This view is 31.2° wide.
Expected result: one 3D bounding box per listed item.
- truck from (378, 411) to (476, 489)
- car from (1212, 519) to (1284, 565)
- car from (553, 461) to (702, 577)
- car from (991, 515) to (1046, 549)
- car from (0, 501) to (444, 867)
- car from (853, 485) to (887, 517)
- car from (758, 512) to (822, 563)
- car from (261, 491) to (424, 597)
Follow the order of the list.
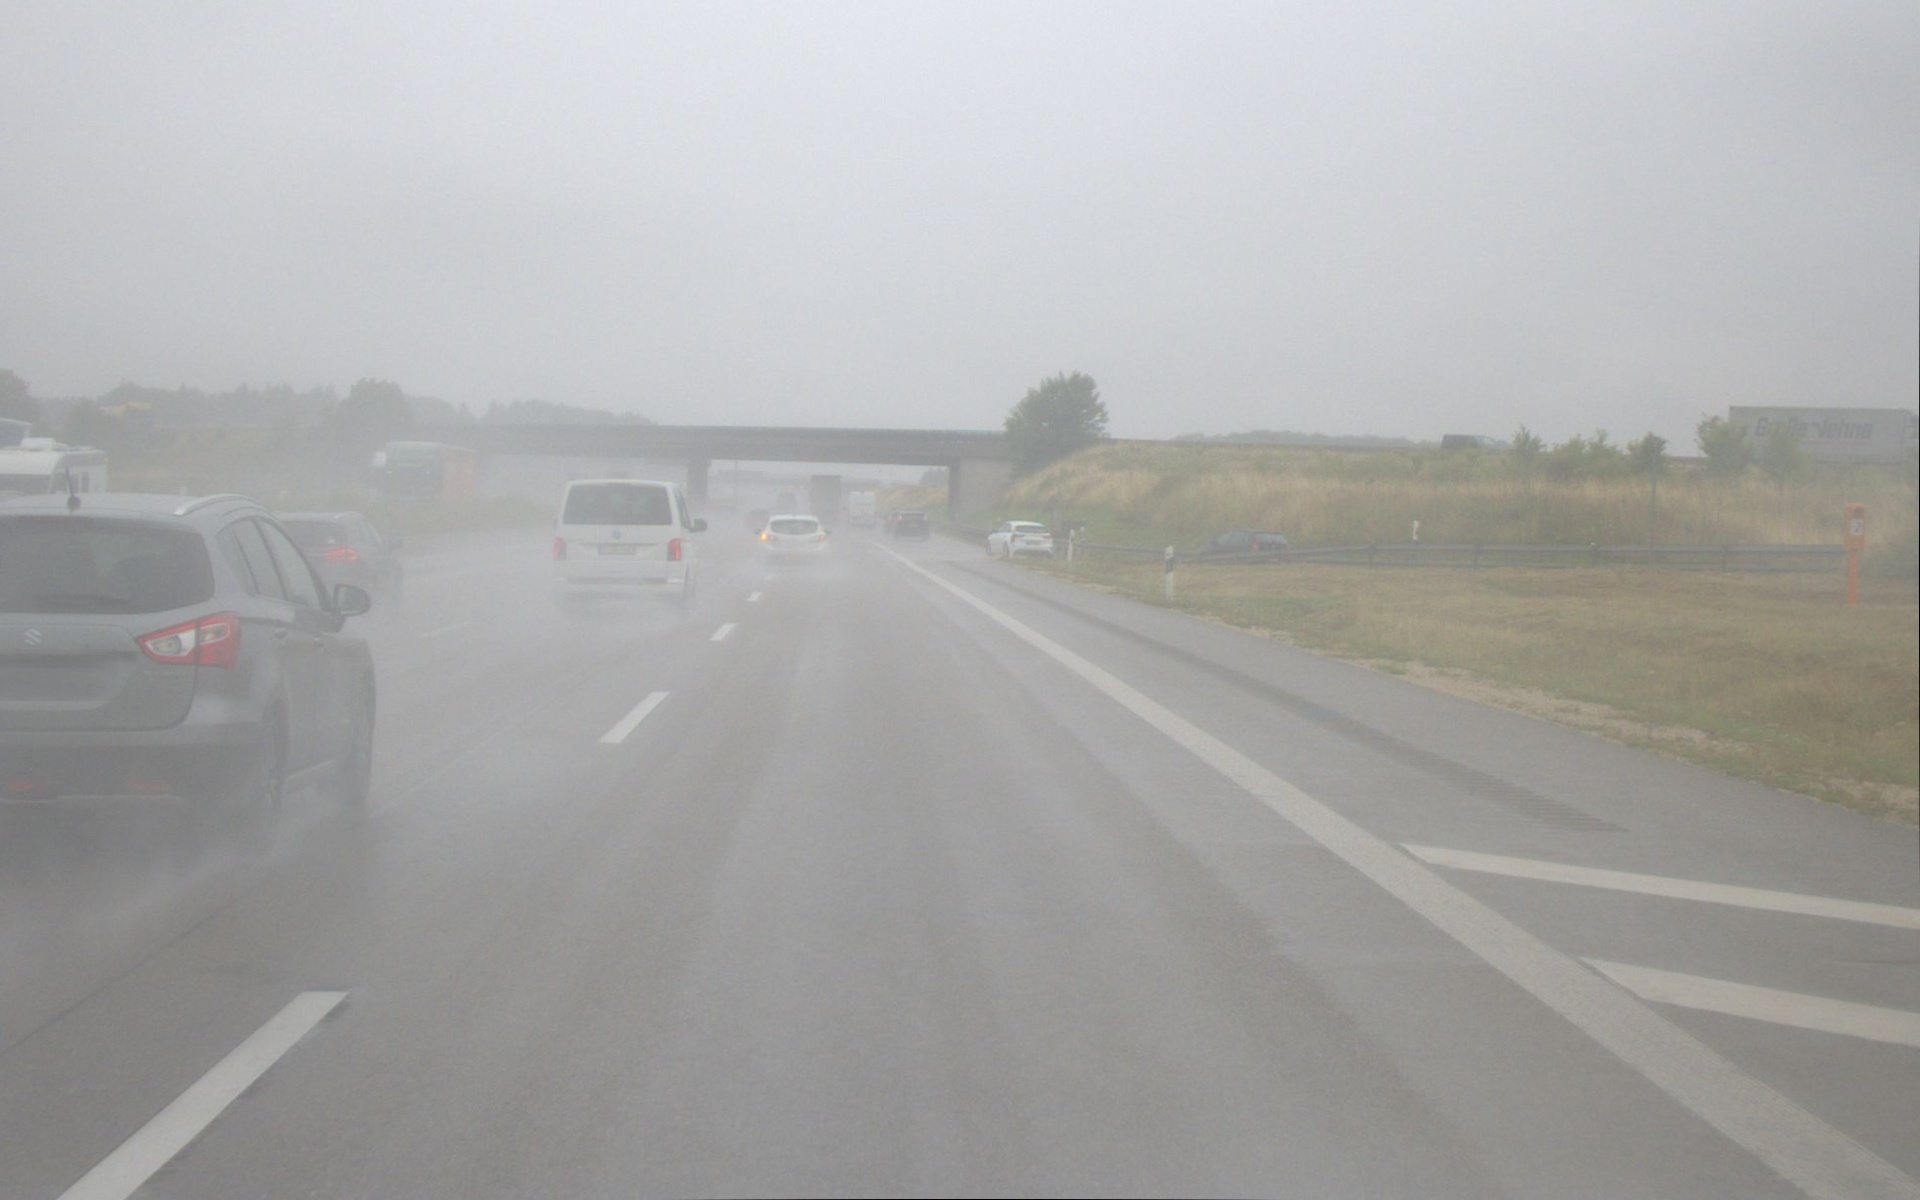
[{"bbox_3d":[-24.300,-6.805,157.166,3.265,3.429,10.131,0,2,-2],"label":"truck"},{"bbox_3d":[9.411,-1.919,112.520,1.731,1.416,3.659,1,2,-5],"label":"car"},{"bbox_3d":[-4.764,-1.162,49.706,1.897,1.580,4.001,1,1,-2],"label":"car"},{"bbox_3d":[2.236,-2.597,131.572,1.993,1.262,4.000,1,1,0],"label":"car"},{"bbox_3d":[-3.790,0.284,16.675,1.846,1.508,4.757,1,1,0],"label":"car"},{"bbox_3d":[-6.113,-6.741,233.272,1.993,2.094,4.001,1,2,-5],"label":"car"},{"bbox_3d":[-4.265,-1.579,86.501,1.468,1.204,2.992,1,1,-1],"label":"car"},{"bbox_3d":[-8.457,-0.791,47.361,1.612,1.349,4.001,2,1,-2],"label":"car"}]
